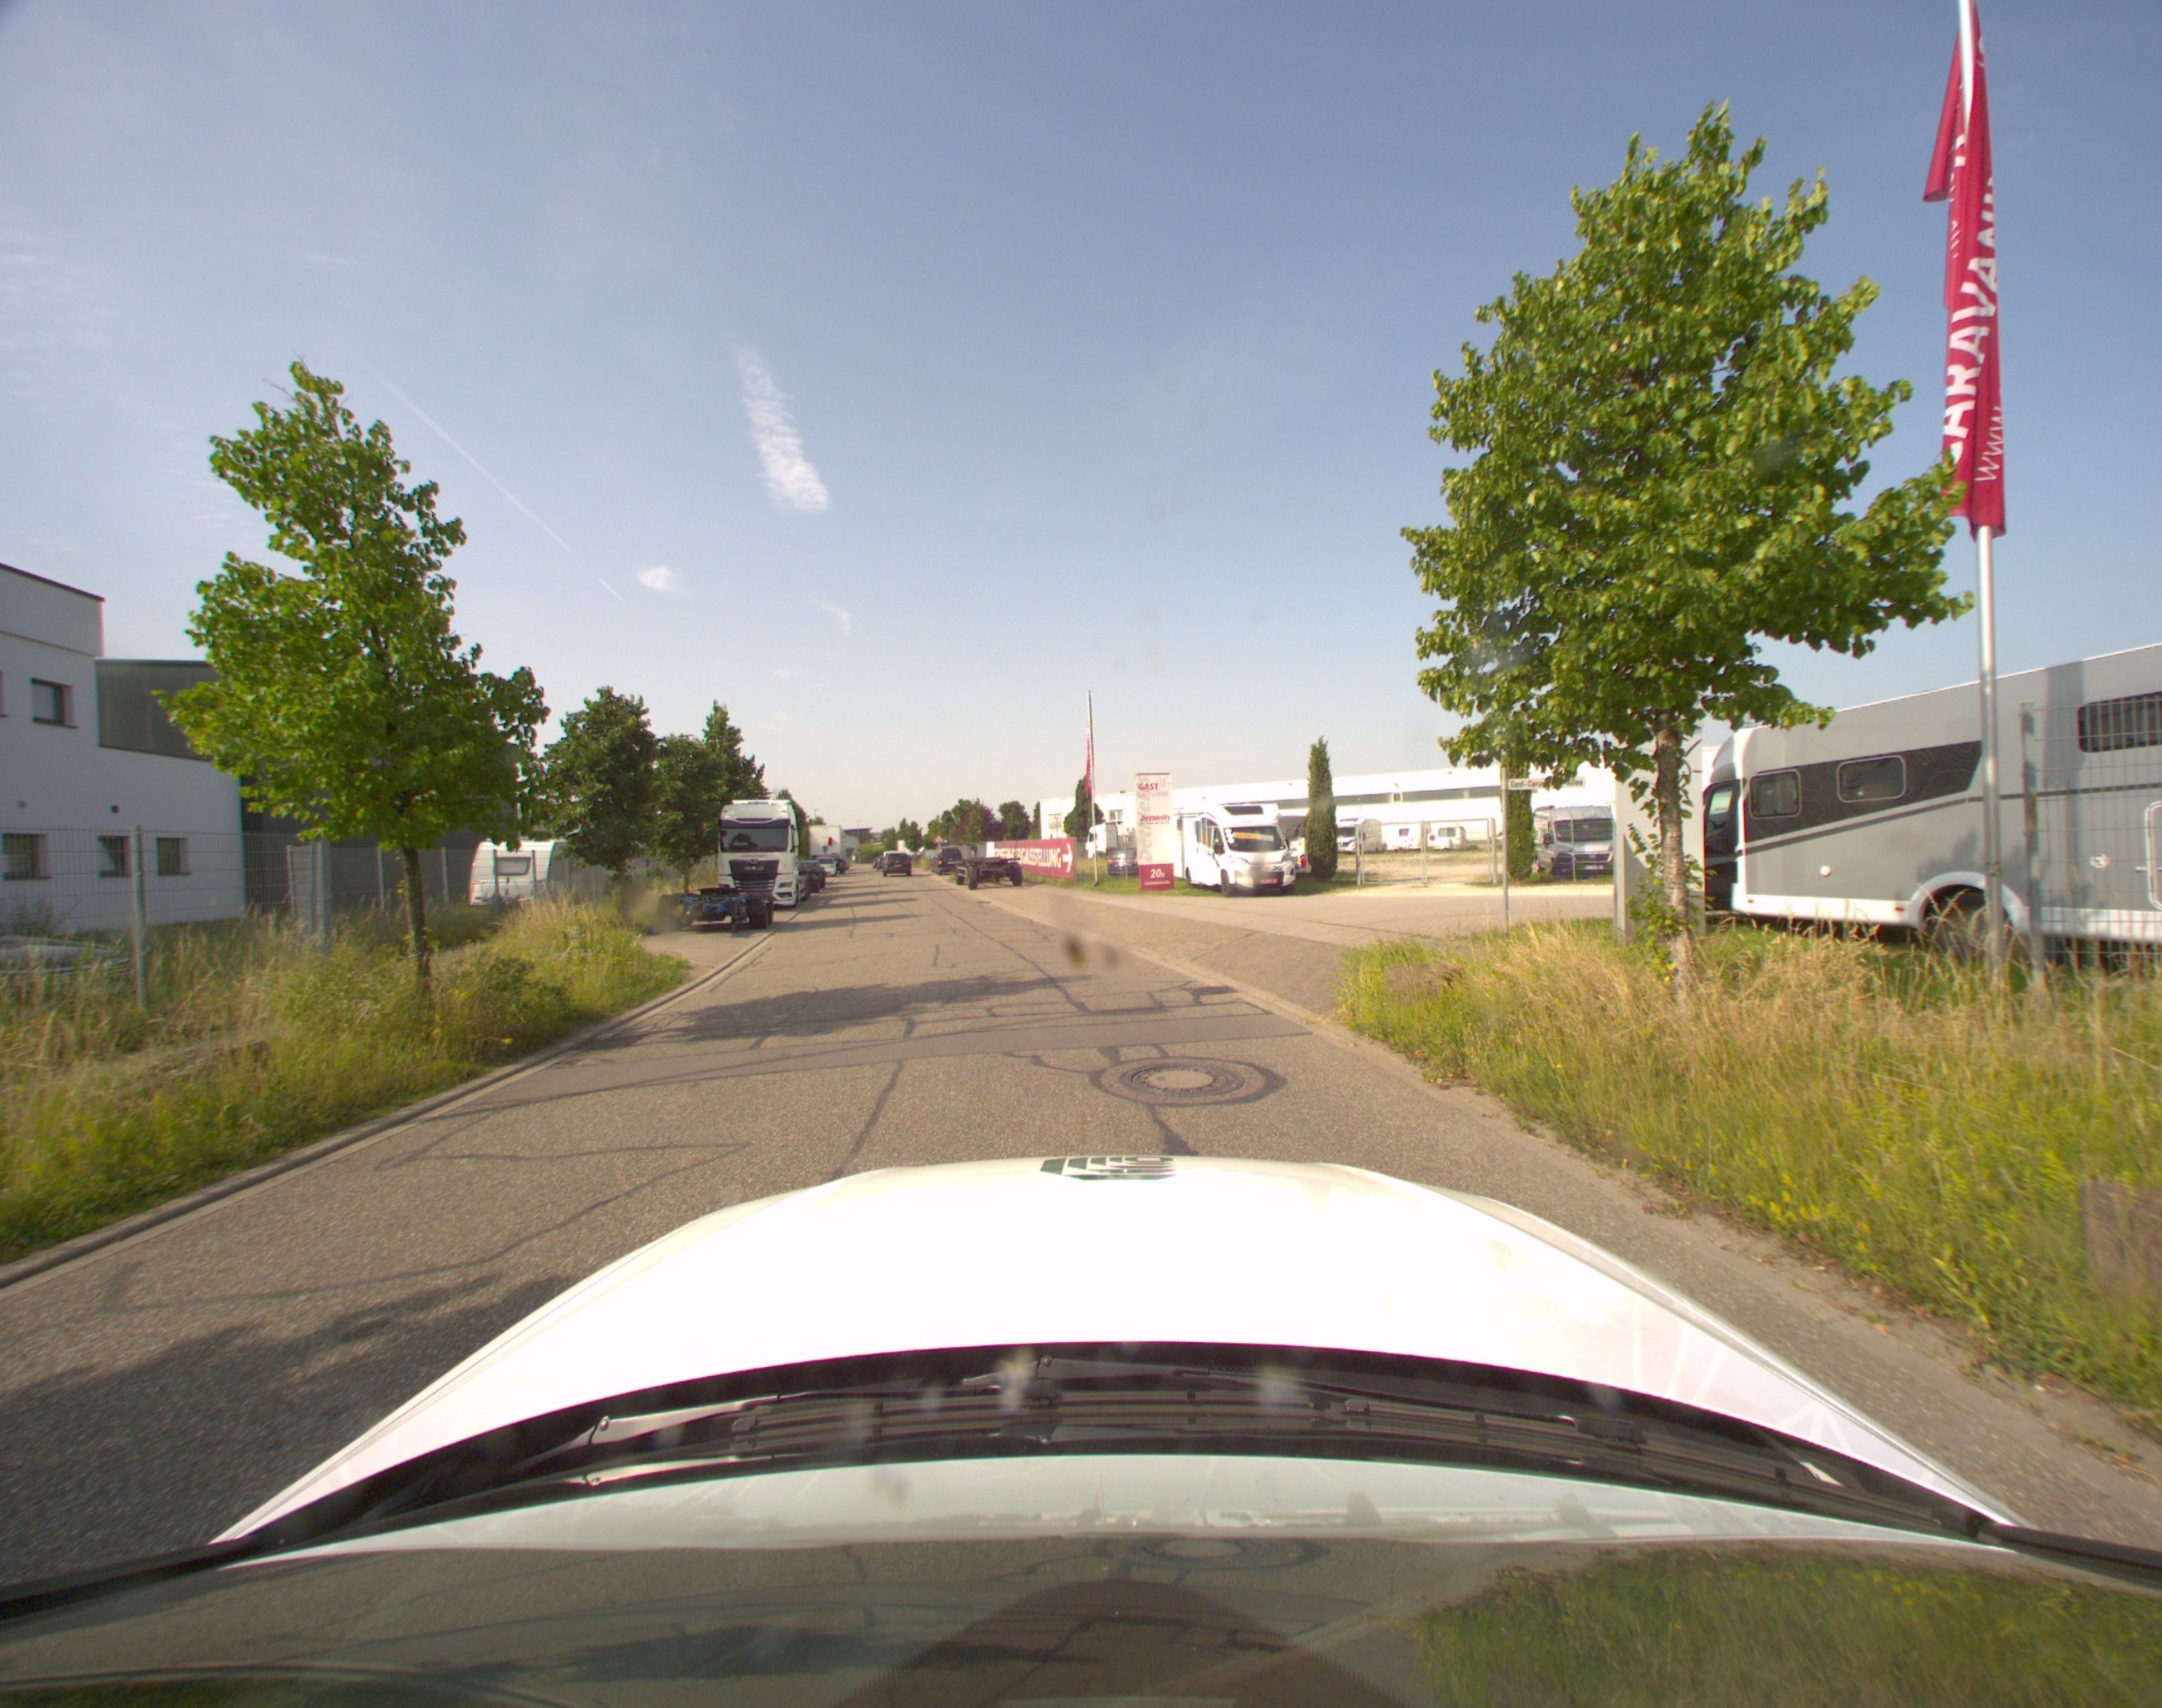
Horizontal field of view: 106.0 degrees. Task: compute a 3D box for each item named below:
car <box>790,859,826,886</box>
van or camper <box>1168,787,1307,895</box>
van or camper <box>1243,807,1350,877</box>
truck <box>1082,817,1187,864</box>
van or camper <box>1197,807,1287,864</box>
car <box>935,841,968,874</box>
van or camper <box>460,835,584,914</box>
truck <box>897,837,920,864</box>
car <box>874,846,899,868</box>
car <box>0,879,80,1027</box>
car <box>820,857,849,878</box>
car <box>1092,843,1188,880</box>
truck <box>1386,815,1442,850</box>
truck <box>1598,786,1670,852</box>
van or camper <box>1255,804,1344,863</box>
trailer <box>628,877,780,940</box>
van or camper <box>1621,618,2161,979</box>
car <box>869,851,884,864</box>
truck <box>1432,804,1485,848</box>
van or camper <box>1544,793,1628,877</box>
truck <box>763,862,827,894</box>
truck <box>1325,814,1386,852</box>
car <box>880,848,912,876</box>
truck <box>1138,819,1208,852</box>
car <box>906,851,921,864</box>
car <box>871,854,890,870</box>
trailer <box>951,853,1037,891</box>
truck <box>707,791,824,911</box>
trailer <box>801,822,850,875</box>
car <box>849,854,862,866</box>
[{"bbox_3d":[-16.302,1.052,48.659,1.890,1.436,3.975,-2,1,-18],"label":"car"},{"bbox_3d":[4.786,-0.407,26.343,2.328,2.943,6.955,-2,1,-7],"label":"van or camper"},{"bbox_3d":[8.917,-0.551,33.165,2.459,2.558,6.668,-1,1,30],"label":"van or camper"},{"bbox_3d":[4.848,-1.233,74.651,9.196,3.972,2.474,-1,1,28],"label":"truck"},{"bbox_3d":[9.827,-1.134,48.800,2.771,3.083,8.021,-1,1,30],"label":"van or camper"},{"bbox_3d":[-8.961,0.213,56.037,1.821,1.978,3.983,-6,2,-13],"label":"car"},{"bbox_3d":[-20.325,0.678,29.896,2.311,2.560,4.924,-2,1,-18],"label":"van or camper"},{"bbox_3d":[-24.577,-0.539,116.066,2.890,3.586,8.026,-3,1,-13],"label":"truck"},{"bbox_3d":[-18.228,0.218,76.569,1.994,1.899,4.453,-1,2,-10],"label":"car"},{"bbox_3d":[-12.508,1.048,7.694,3.501,1.454,1.587,-1,0,-18],"label":"car"},{"bbox_3d":[-18.793,0.991,62.117,1.813,1.427,3.982,-2,1,-13],"label":"car"},{"bbox_3d":[2.686,0.323,36.551,4.024,1.476,2.146,-3,1,-44],"label":"car"},{"bbox_3d":[24.211,-1.584,58.996,2.427,2.265,8.053,-1,1,31],"label":"truck"},{"bbox_3d":[26.827,-1.666,39.782,2.427,2.845,8.053,-1,1,31],"label":"truck"},{"bbox_3d":[12.816,-1.226,47.105,2.921,3.083,8.021,-1,1,30],"label":"van or camper"},{"bbox_3d":[-9.222,1.261,20.494,2.579,1.100,5.175,-3,1,-15],"label":"trailer"},{"bbox_3d":[9.715,-0.495,9.169,2.342,2.847,7.341,-2,0,0],"label":"van or camper"},{"bbox_3d":[-28.121,0.479,111.944,1.997,1.771,3.980,-2,0,-15],"label":"car"},{"bbox_3d":[26.718,-1.962,57.444,2.427,2.826,8.053,-1,1,31],"label":"truck"},{"bbox_3d":[17.281,-0.675,28.119,1.975,2.534,6.189,-2,1,28],"label":"van or camper"},{"bbox_3d":[-14.450,1.157,41.478,2.529,1.265,6.493,-2,1,-15],"label":"truck"},{"bbox_3d":[19.825,-1.520,58.474,2.427,2.471,8.053,-1,1,31],"label":"truck"},{"bbox_3d":[-12.932,0.551,57.176,1.994,1.804,3.986,-2,1,-10],"label":"car"},{"bbox_3d":[7.533,-1.536,65.636,2.427,2.471,8.053,-1,1,31],"label":"truck"},{"bbox_3d":[-21.779,0.461,105.687,1.820,1.449,3.784,-4,1,-13],"label":"car"},{"bbox_3d":[-22.856,0.905,92.870,1.997,1.640,3.980,-2,0,-15],"label":"car"},{"bbox_3d":[-4.393,0.737,38.993,2.628,1.388,9.407,-5,1,-15],"label":"trailer"},{"bbox_3d":[-12.479,-0.134,33.445,2.629,3.928,12.859,-2,0,-13],"label":"truck"},{"bbox_3d":[-23.487,-0.459,75.604,3.409,4.340,13.852,-2,1,-14],"label":"trailer"},{"bbox_3d":[-36.086,0.940,130.374,1.997,1.771,3.980,-2,0,-15],"label":"car"}]
